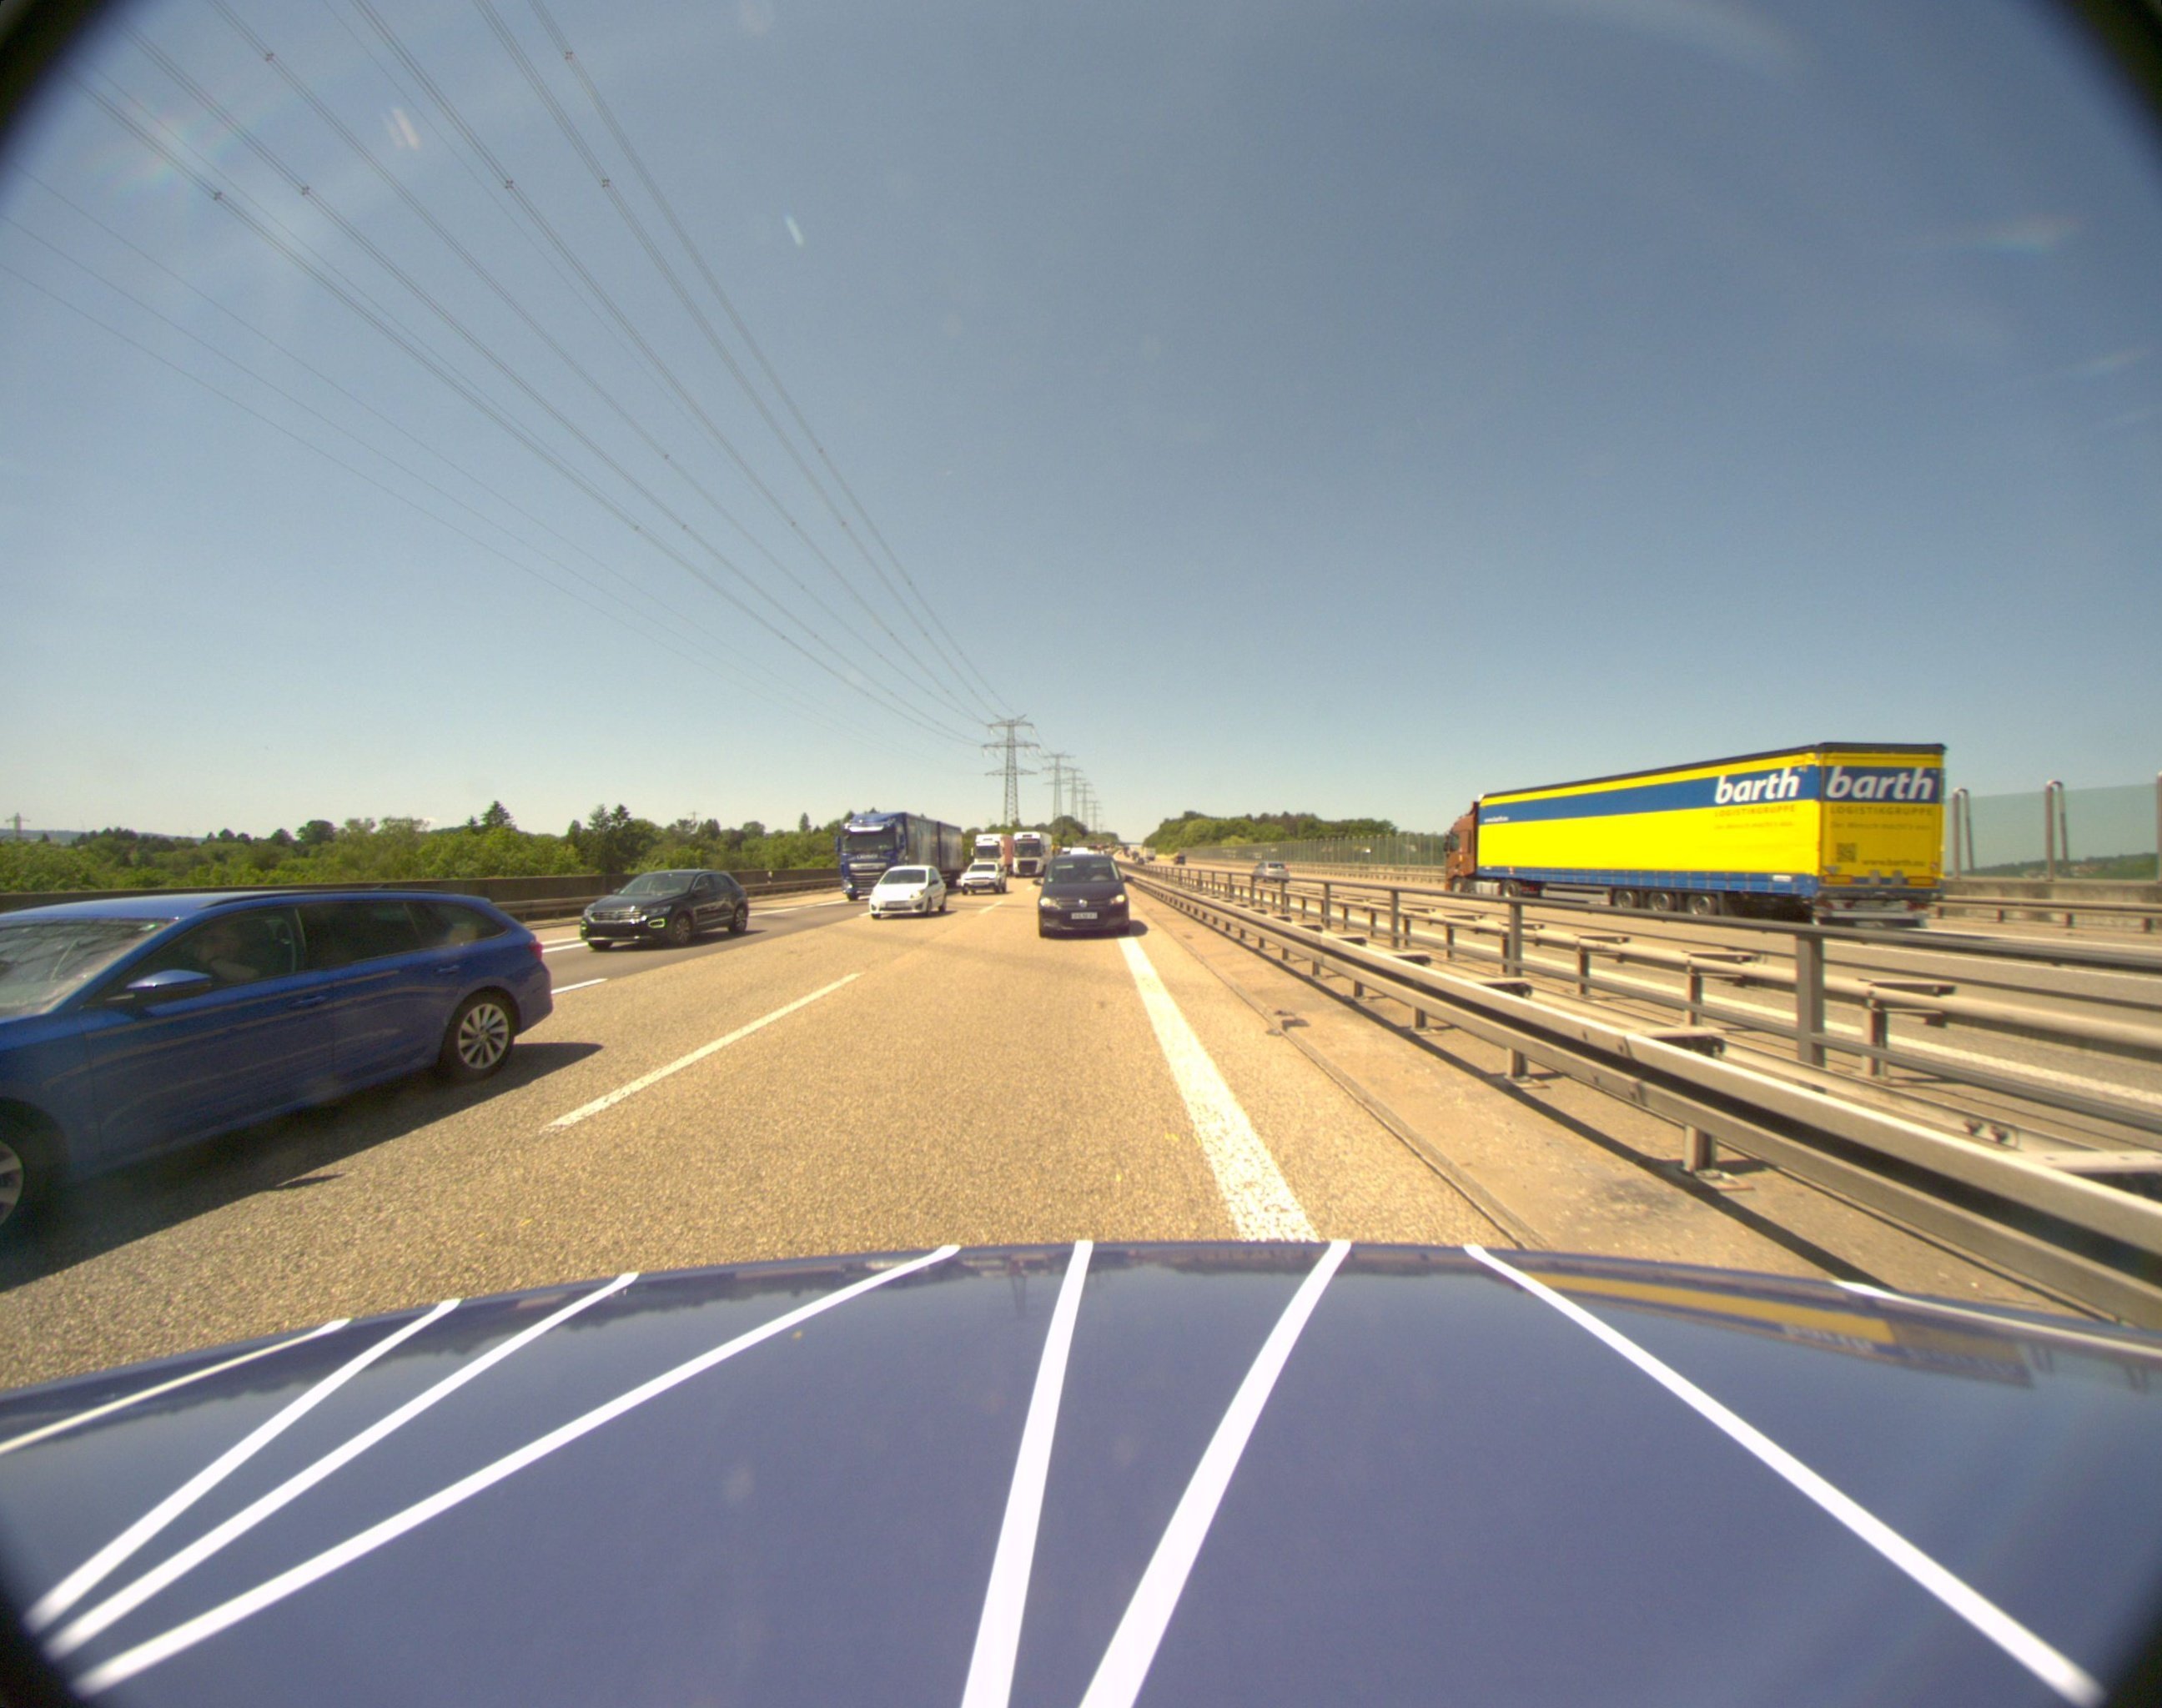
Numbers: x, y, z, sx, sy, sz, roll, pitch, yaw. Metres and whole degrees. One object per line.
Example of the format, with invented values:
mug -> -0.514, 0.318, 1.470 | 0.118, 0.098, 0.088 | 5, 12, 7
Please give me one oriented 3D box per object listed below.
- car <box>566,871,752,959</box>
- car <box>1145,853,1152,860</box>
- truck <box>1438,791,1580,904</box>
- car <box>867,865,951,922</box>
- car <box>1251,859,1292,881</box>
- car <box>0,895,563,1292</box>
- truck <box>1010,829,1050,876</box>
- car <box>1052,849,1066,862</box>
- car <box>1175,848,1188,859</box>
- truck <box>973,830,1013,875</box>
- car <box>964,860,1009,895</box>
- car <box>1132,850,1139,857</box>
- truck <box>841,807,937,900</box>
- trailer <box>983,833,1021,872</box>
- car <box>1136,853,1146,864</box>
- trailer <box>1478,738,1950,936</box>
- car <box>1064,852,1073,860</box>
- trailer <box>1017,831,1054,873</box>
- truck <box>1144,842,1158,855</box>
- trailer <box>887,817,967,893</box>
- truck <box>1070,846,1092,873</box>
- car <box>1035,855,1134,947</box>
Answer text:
car -> -8.703, 1.183, 16.114 | 1.709, 1.497, 3.888 | -2, 0, 0
car -> 16.031, 0.643, 180.550 | 1.473, 1.492, 3.200 | -1, 1, 1
truck -> 16.553, -0.251, 29.845 | 2.420, 4.035, 5.542 | 0, 1, 1
car -> -4.989, 1.096, 22.424 | 1.584, 1.432, 3.629 | -2, 0, 0
car -> 12.870, 1.068, 51.574 | 1.767, 1.374, 4.078 | 1, 0, 0
car -> -5.252, 1.088, 4.138 | 1.714, 1.432, 4.500 | -2, 0, 0
truck -> -4.444, -0.123, 67.523 | 2.914, 3.869, 6.739 | -2, 1, 0
car -> -3.497, 0.230, 122.672 | 1.998, 2.002, 4.000 | -2, 1, 1
car -> 19.626, -0.092, 148.181 | 2.021, 2.002, 3.968 | -2, 1, 1
truck -> -8.238, -0.164, 71.938 | 2.914, 3.869, 6.739 | -2, 1, 0
car -> -4.523, 1.114, 36.822 | 1.722, 1.526, 3.753 | -2, 0, 0
car -> 16.310, -0.094, 227.152 | 1.725, 1.849, 3.555 | -2, 1, 1
truck -> -8.987, -0.005, 36.580 | 2.517, 3.944, 7.926 | -2, 0, 0
trailer -> -8.221, -0.221, 79.652 | 2.904, 3.779, 8.688 | -2, 1, 0
car -> 10.766, 0.799, 137.159 | 1.584, 2.002, 3.546 | 0, 0, 1
trailer -> 16.502, -0.333, 22.385 | 2.429, 4.039, 13.801 | 0, 0, 0
car -> -2.500, 0.437, 157.443 | 1.701, 1.599, 3.639 | -2, 1, 1
trailer -> -4.446, -0.204, 75.794 | 2.898, 3.846, 9.773 | -2, 1, 0
truck -> 20.441, -1.647, 222.166 | 3.289, 3.628, 6.975 | -2, 1, 1
trailer -> -9.051, 0.017, 45.999 | 2.543, 3.971, 10.883 | -2, 1, 0
truck -> 0.026, 0.524, 79.715 | 2.100, 2.700, 5.864 | -2, 1, 1
car -> 0.056, 0.853, 15.665 | 1.739, 1.607, 3.911 | -2, 0, 0
